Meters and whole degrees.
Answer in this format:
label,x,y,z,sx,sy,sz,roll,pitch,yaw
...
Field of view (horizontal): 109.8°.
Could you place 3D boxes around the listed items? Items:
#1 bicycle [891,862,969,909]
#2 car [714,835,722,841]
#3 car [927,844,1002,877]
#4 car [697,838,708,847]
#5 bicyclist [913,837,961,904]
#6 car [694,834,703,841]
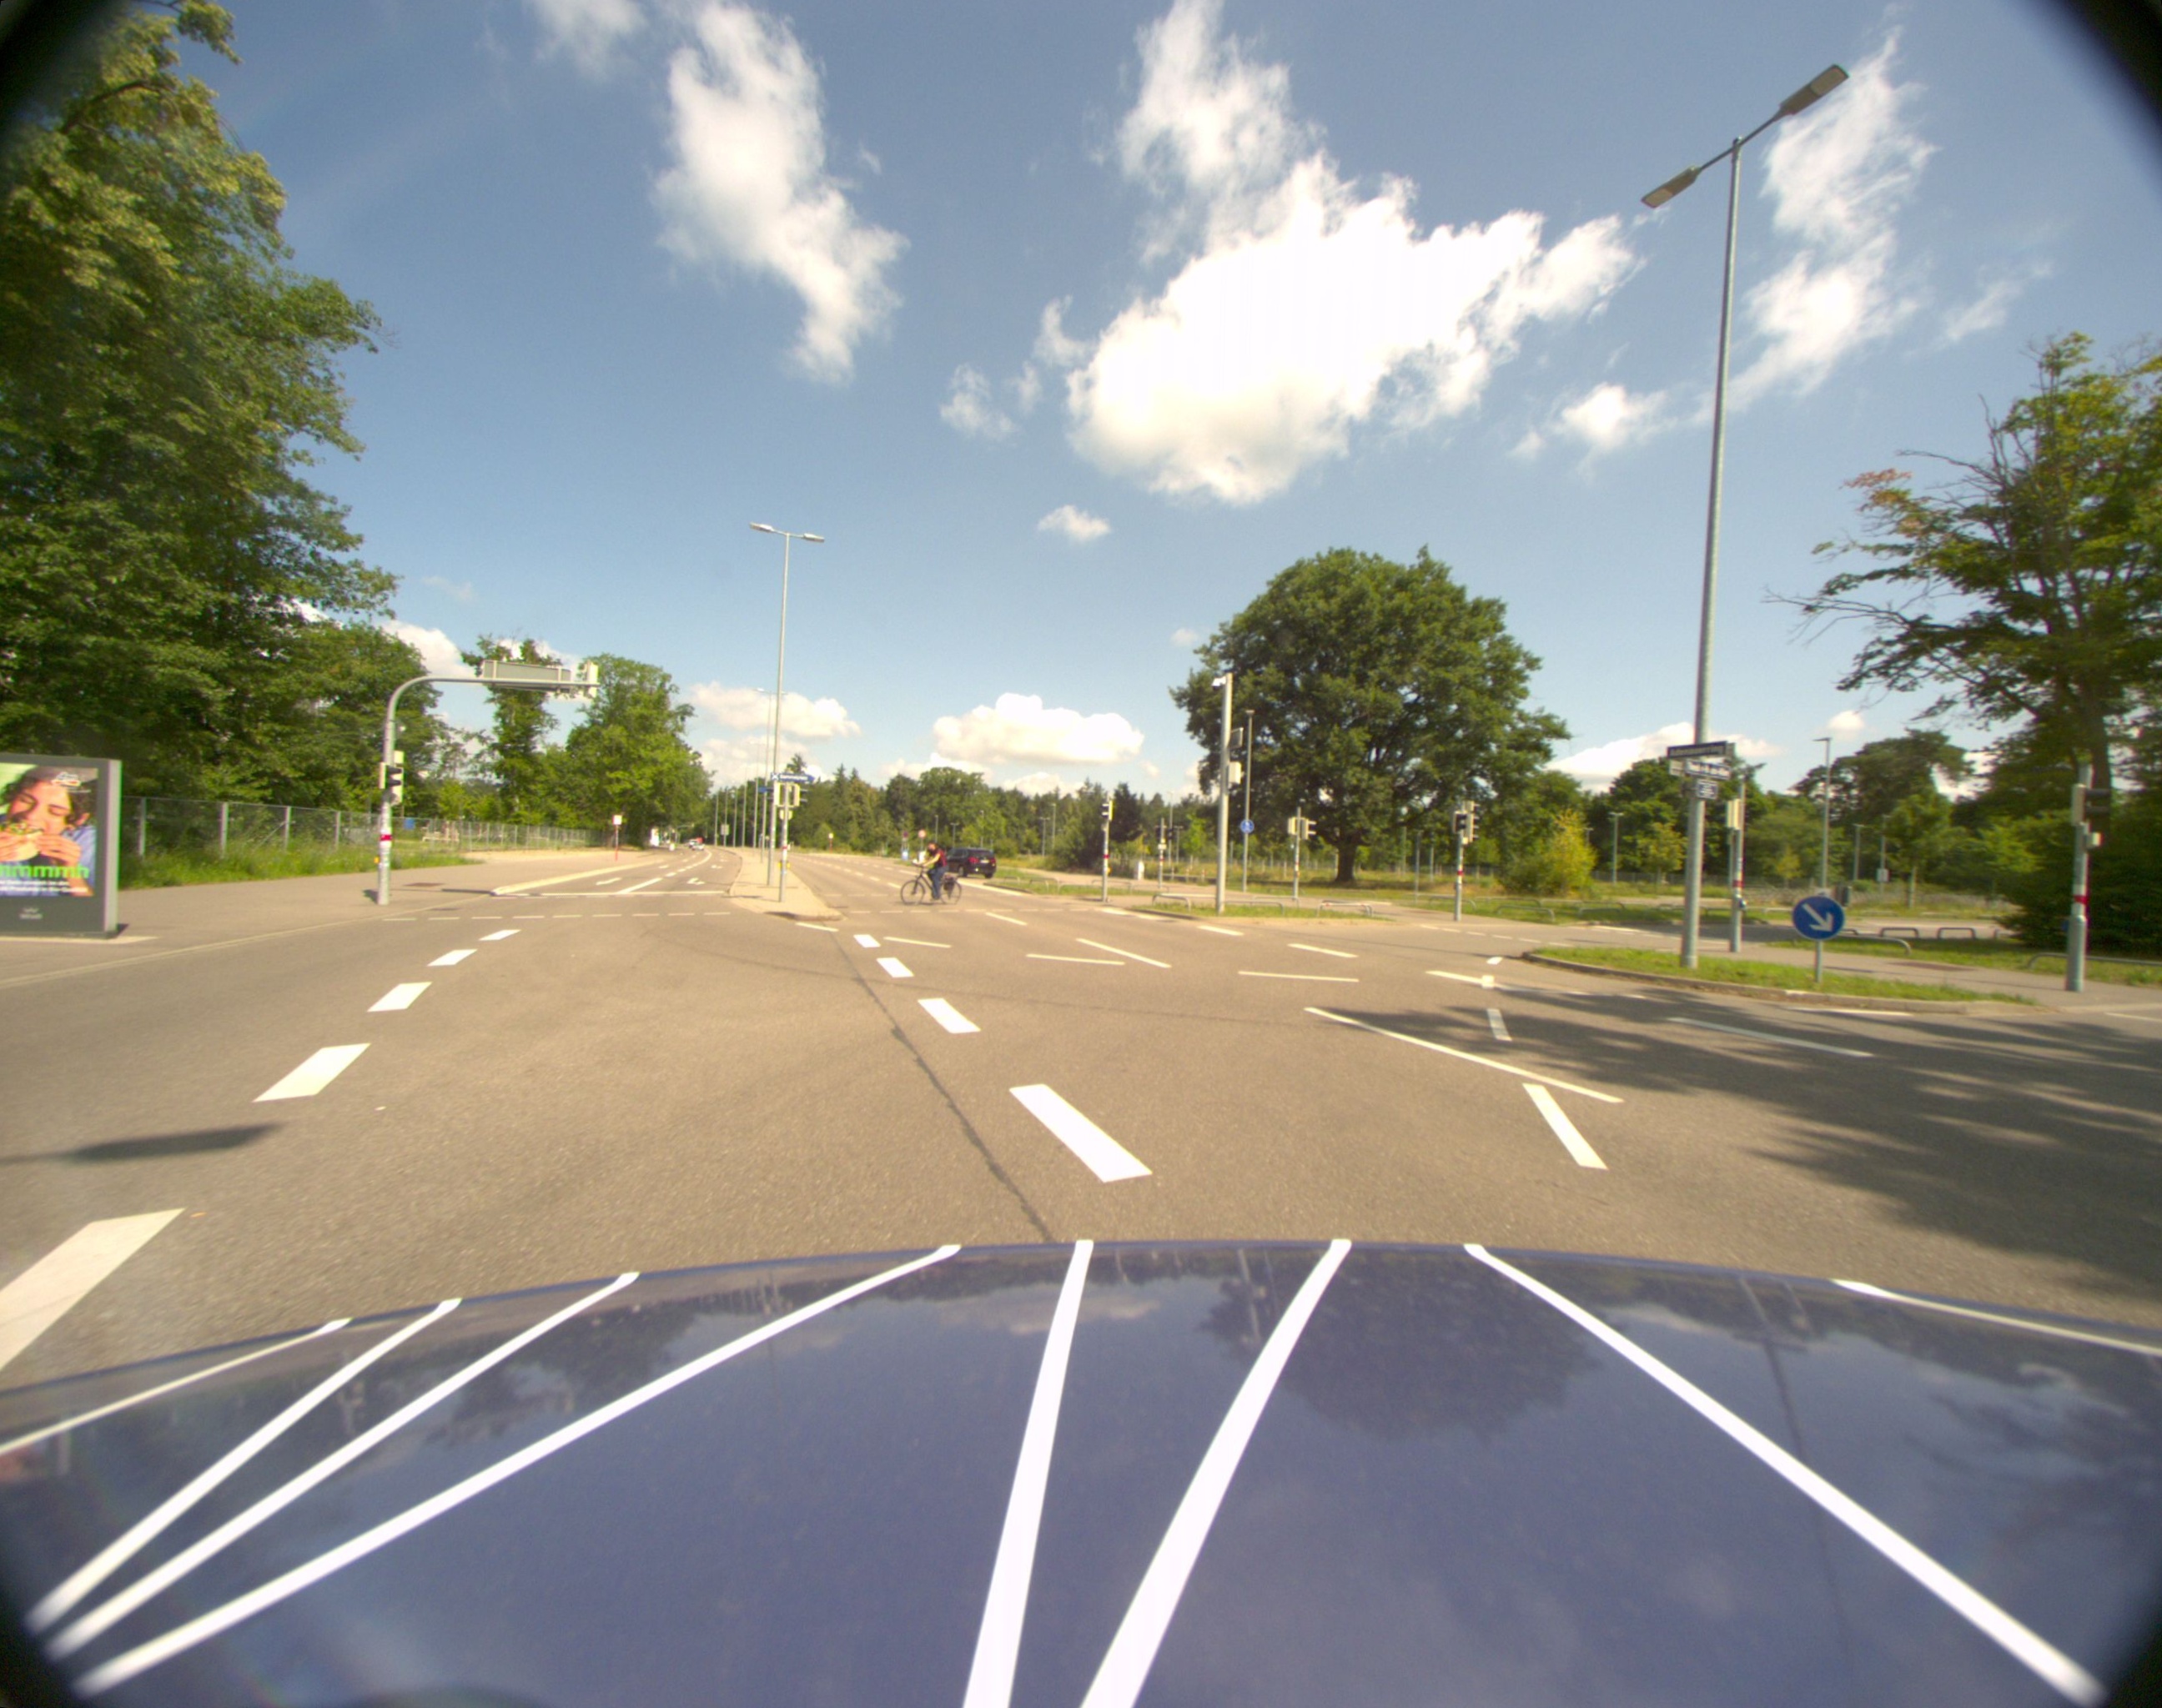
label,x,y,z,sx,sy,sz,roll,pitch,yaw
bicycle,-4.127,0.854,20.803,1.901,1.199,0.881,1,2,-34
car,-88.599,-3.899,185.502,1.583,1.471,3.562,1,1,-25
car,-6.730,0.344,43.541,1.986,1.754,4.693,1,0,-42
car,-66.659,-2.102,133.806,1.583,1.471,3.562,1,1,-27
bicyclist,-3.961,0.431,20.891,0.980,1.787,0.885,1,2,-34
car,-85.040,-3.637,169.017,1.583,1.471,3.562,1,1,-25
